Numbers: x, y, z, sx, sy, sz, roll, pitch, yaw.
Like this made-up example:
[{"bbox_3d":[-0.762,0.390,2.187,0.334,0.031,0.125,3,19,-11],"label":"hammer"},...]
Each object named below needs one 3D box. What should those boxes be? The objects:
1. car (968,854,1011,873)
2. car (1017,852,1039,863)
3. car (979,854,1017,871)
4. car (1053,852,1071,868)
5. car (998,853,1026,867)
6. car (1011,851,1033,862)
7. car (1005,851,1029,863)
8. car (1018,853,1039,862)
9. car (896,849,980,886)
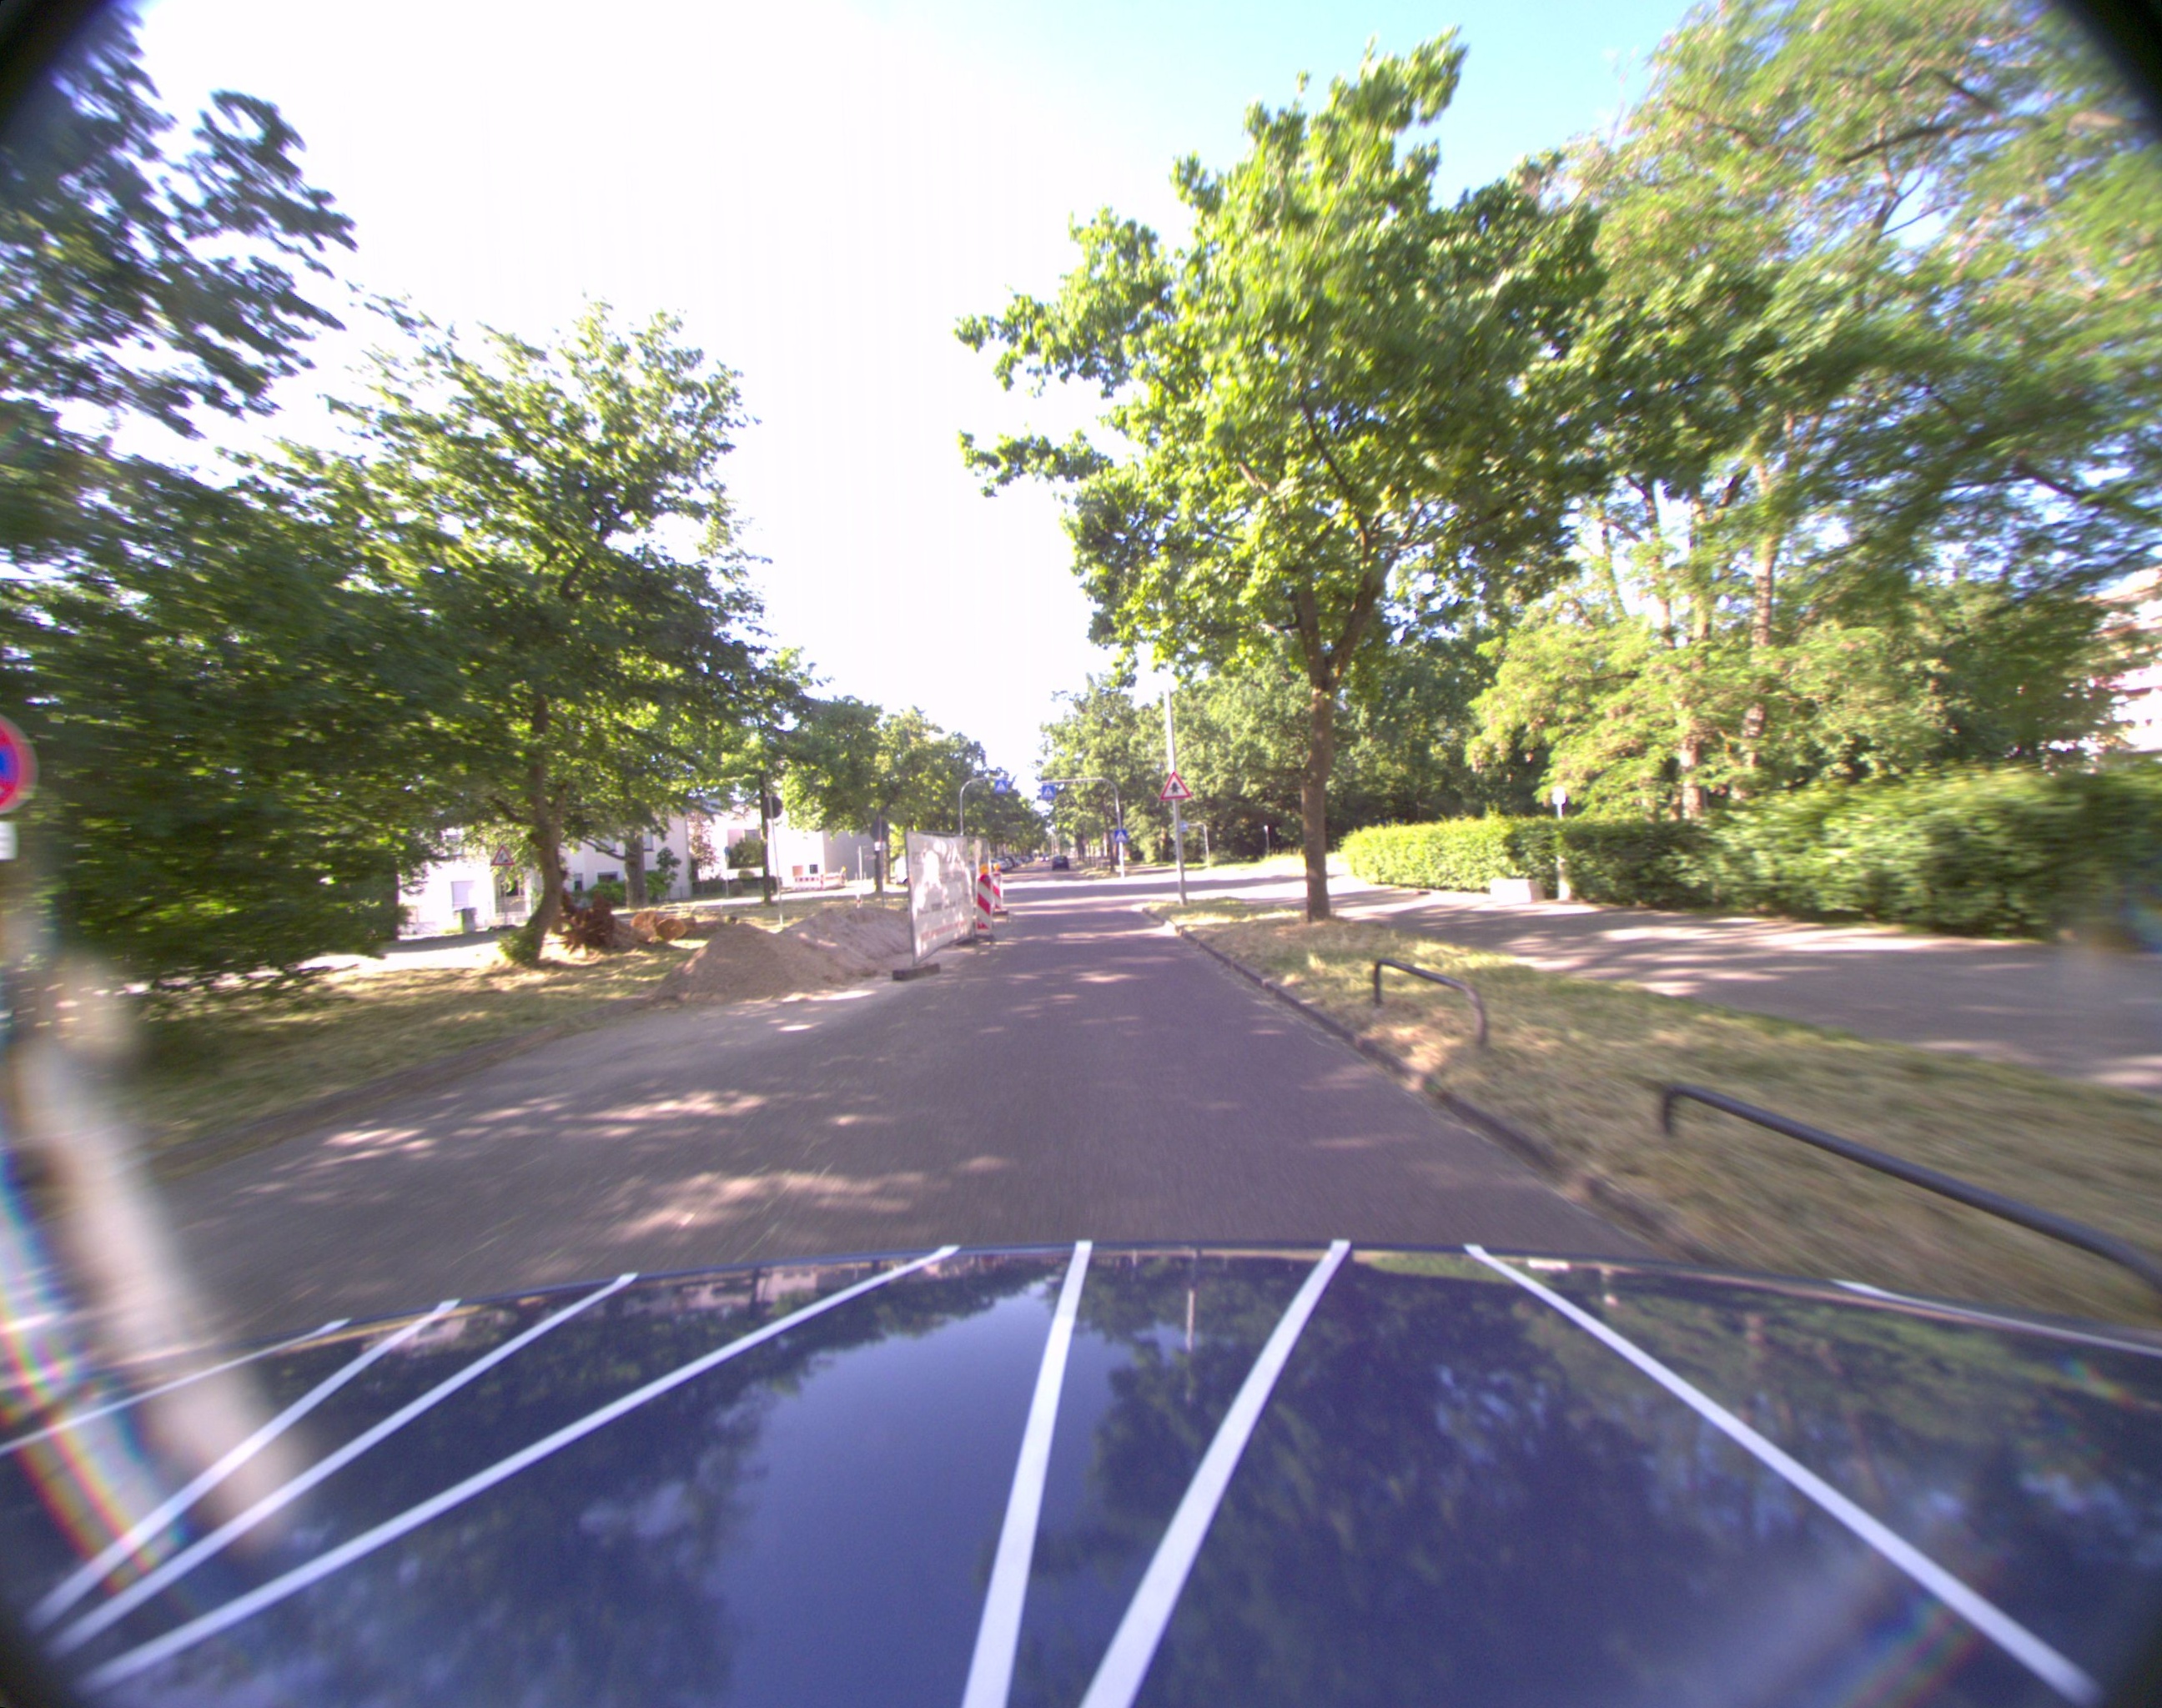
[{"bbox_3d":[-9.895,1.049,82.381,4.395,1.733,1.532,-4,1,0],"label":"car"},{"bbox_3d":[-10.383,0.757,148.547,4.152,1.838,1.949,-4,1,-1],"label":"car"},{"bbox_3d":[-10.226,1.085,93.643,4.395,1.733,1.532,-4,1,0],"label":"car"},{"bbox_3d":[-2.054,0.623,82.784,1.826,1.615,4.491,-2,0,-2],"label":"car"},{"bbox_3d":[-10.591,0.869,116.296,3.997,1.838,1.863,-4,1,-1],"label":"car"},{"bbox_3d":[-11.969,0.507,153.558,4.152,1.838,1.949,-4,1,-1],"label":"car"},{"bbox_3d":[-11.547,0.549,137.227,4.152,1.838,1.949,-4,1,-1],"label":"car"},{"bbox_3d":[-10.936,0.731,158.617,4.152,1.401,1.800,-4,0,-1],"label":"car"},{"bbox_3d":[-9.236,0.845,49.459,5.046,2.069,1.890,-3,1,-2],"label":"car"}]
